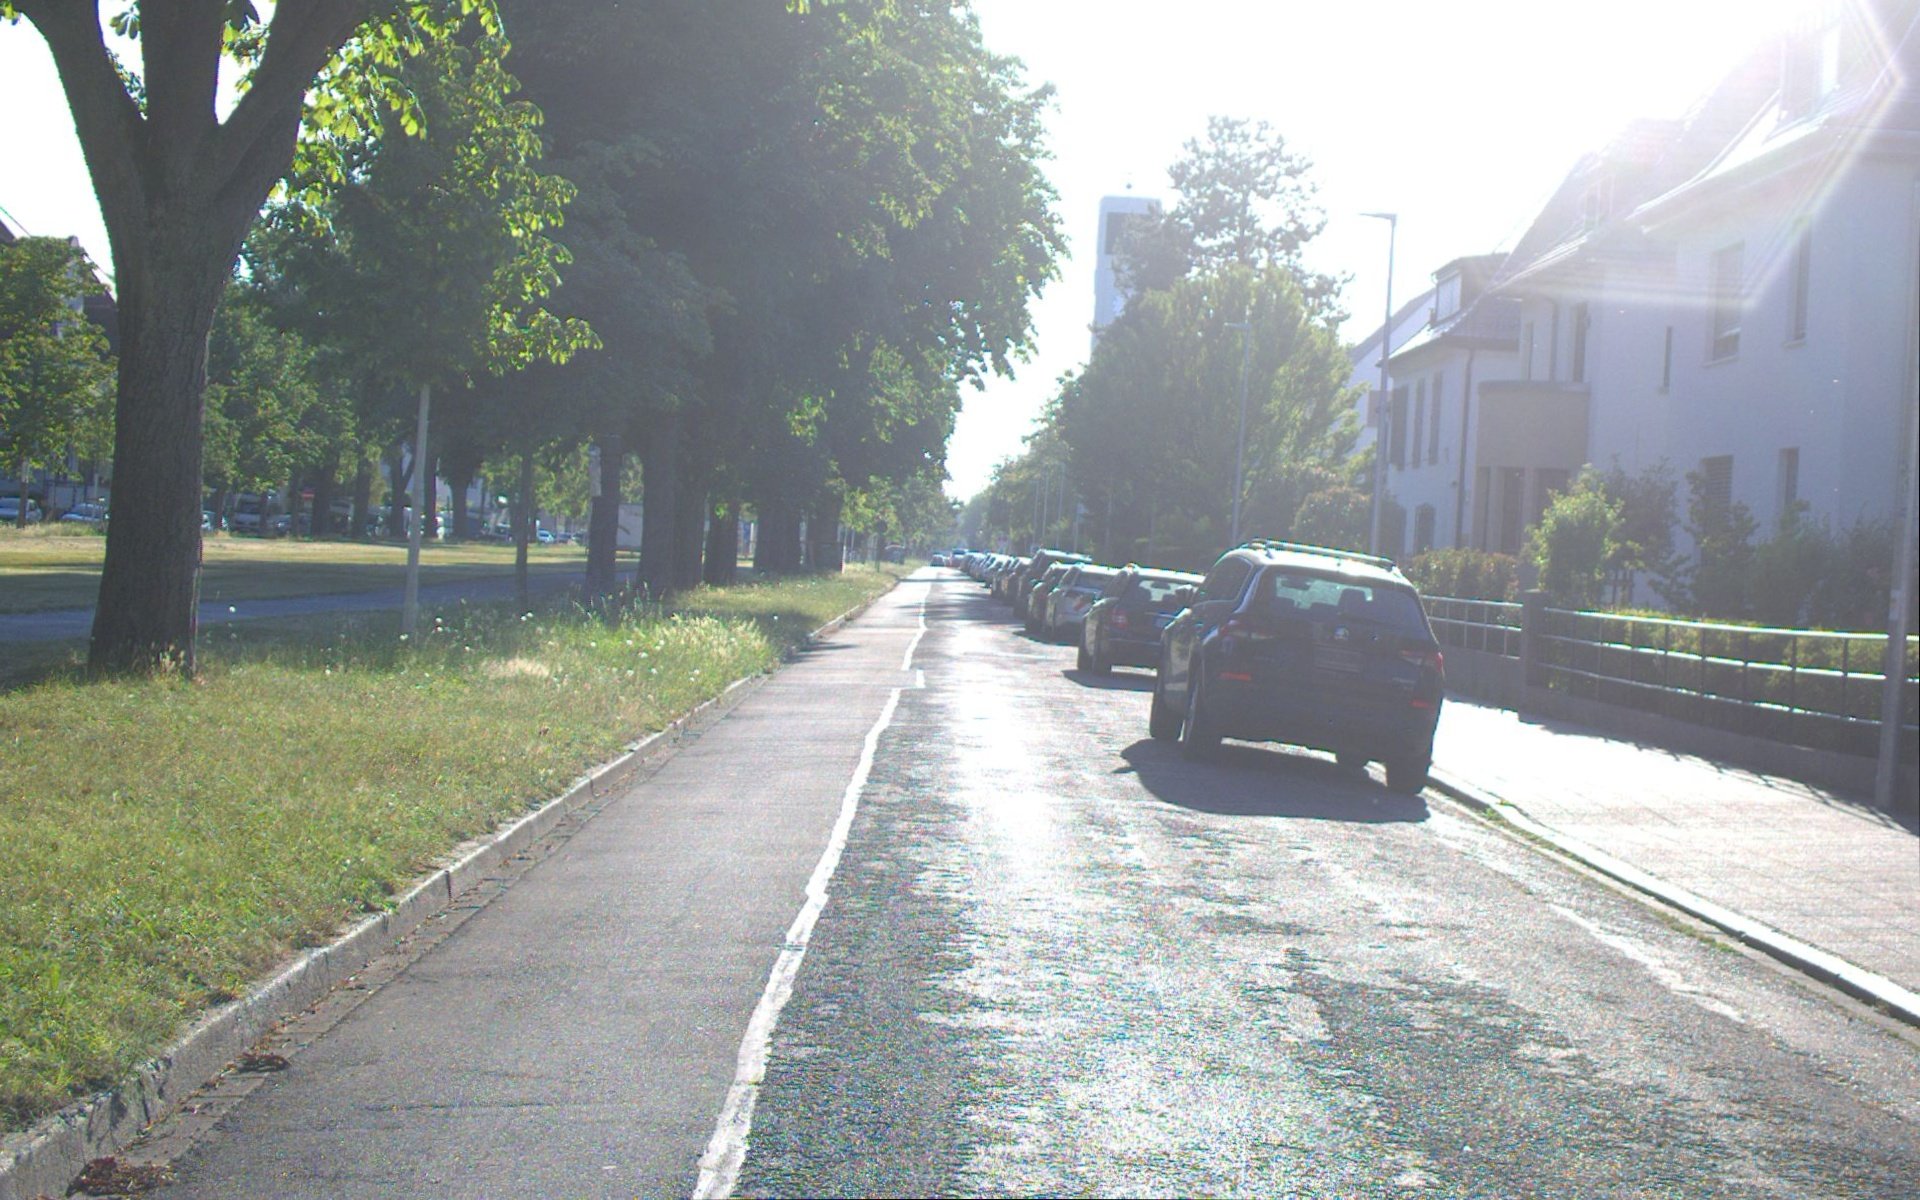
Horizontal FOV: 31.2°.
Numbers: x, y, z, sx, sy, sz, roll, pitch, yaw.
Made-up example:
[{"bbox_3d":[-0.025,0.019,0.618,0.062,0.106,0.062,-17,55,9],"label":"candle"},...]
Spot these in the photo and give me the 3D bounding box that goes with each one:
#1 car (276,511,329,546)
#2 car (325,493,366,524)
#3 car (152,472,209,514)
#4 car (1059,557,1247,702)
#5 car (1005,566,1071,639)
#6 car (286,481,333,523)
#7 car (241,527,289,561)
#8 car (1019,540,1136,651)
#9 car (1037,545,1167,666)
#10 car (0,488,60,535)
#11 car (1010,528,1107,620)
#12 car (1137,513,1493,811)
[{"bbox_3d":[-35.204,-3.821,184.049,1.993,1.728,4.000,4,1,0],"label":"car"},{"bbox_3d":[-42.494,-6.330,237.809,1.993,2.007,4.000,4,1,-1],"label":"car"},{"bbox_3d":[-41.762,-5.727,184.162,1.993,1.907,4.000,6,0,0],"label":"car"},{"bbox_3d":[2.423,0.356,44.160,1.993,1.648,4.000,4,0,-1],"label":"car"},{"bbox_3d":[2.326,0.070,103.639,1.691,2.007,3.625,6,0,-1],"label":"car"},{"bbox_3d":[-33.644,-5.074,177.892,1.654,1.931,3.568,6,3,-1],"label":"car"},{"bbox_3d":[-40.334,-3.226,199.645,1.879,1.746,3.797,6,0,0],"label":"car"},{"bbox_3d":[2.364,-0.088,70.184,1.993,2.007,4.000,6,0,-1],"label":"car"},{"bbox_3d":[2.621,0.091,64.453,1.993,2.007,4.000,6,0,-1],"label":"car"},{"bbox_3d":[-39.923,-3.768,147.278,1.729,1.756,3.346,6,0,0],"label":"car"},{"bbox_3d":[2.397,-0.621,84.274,1.993,2.007,4.000,6,0,-1],"label":"car"},{"bbox_3d":[2.642,0.392,26.700,1.993,1.897,4.390,7,1,-1],"label":"car"}]
